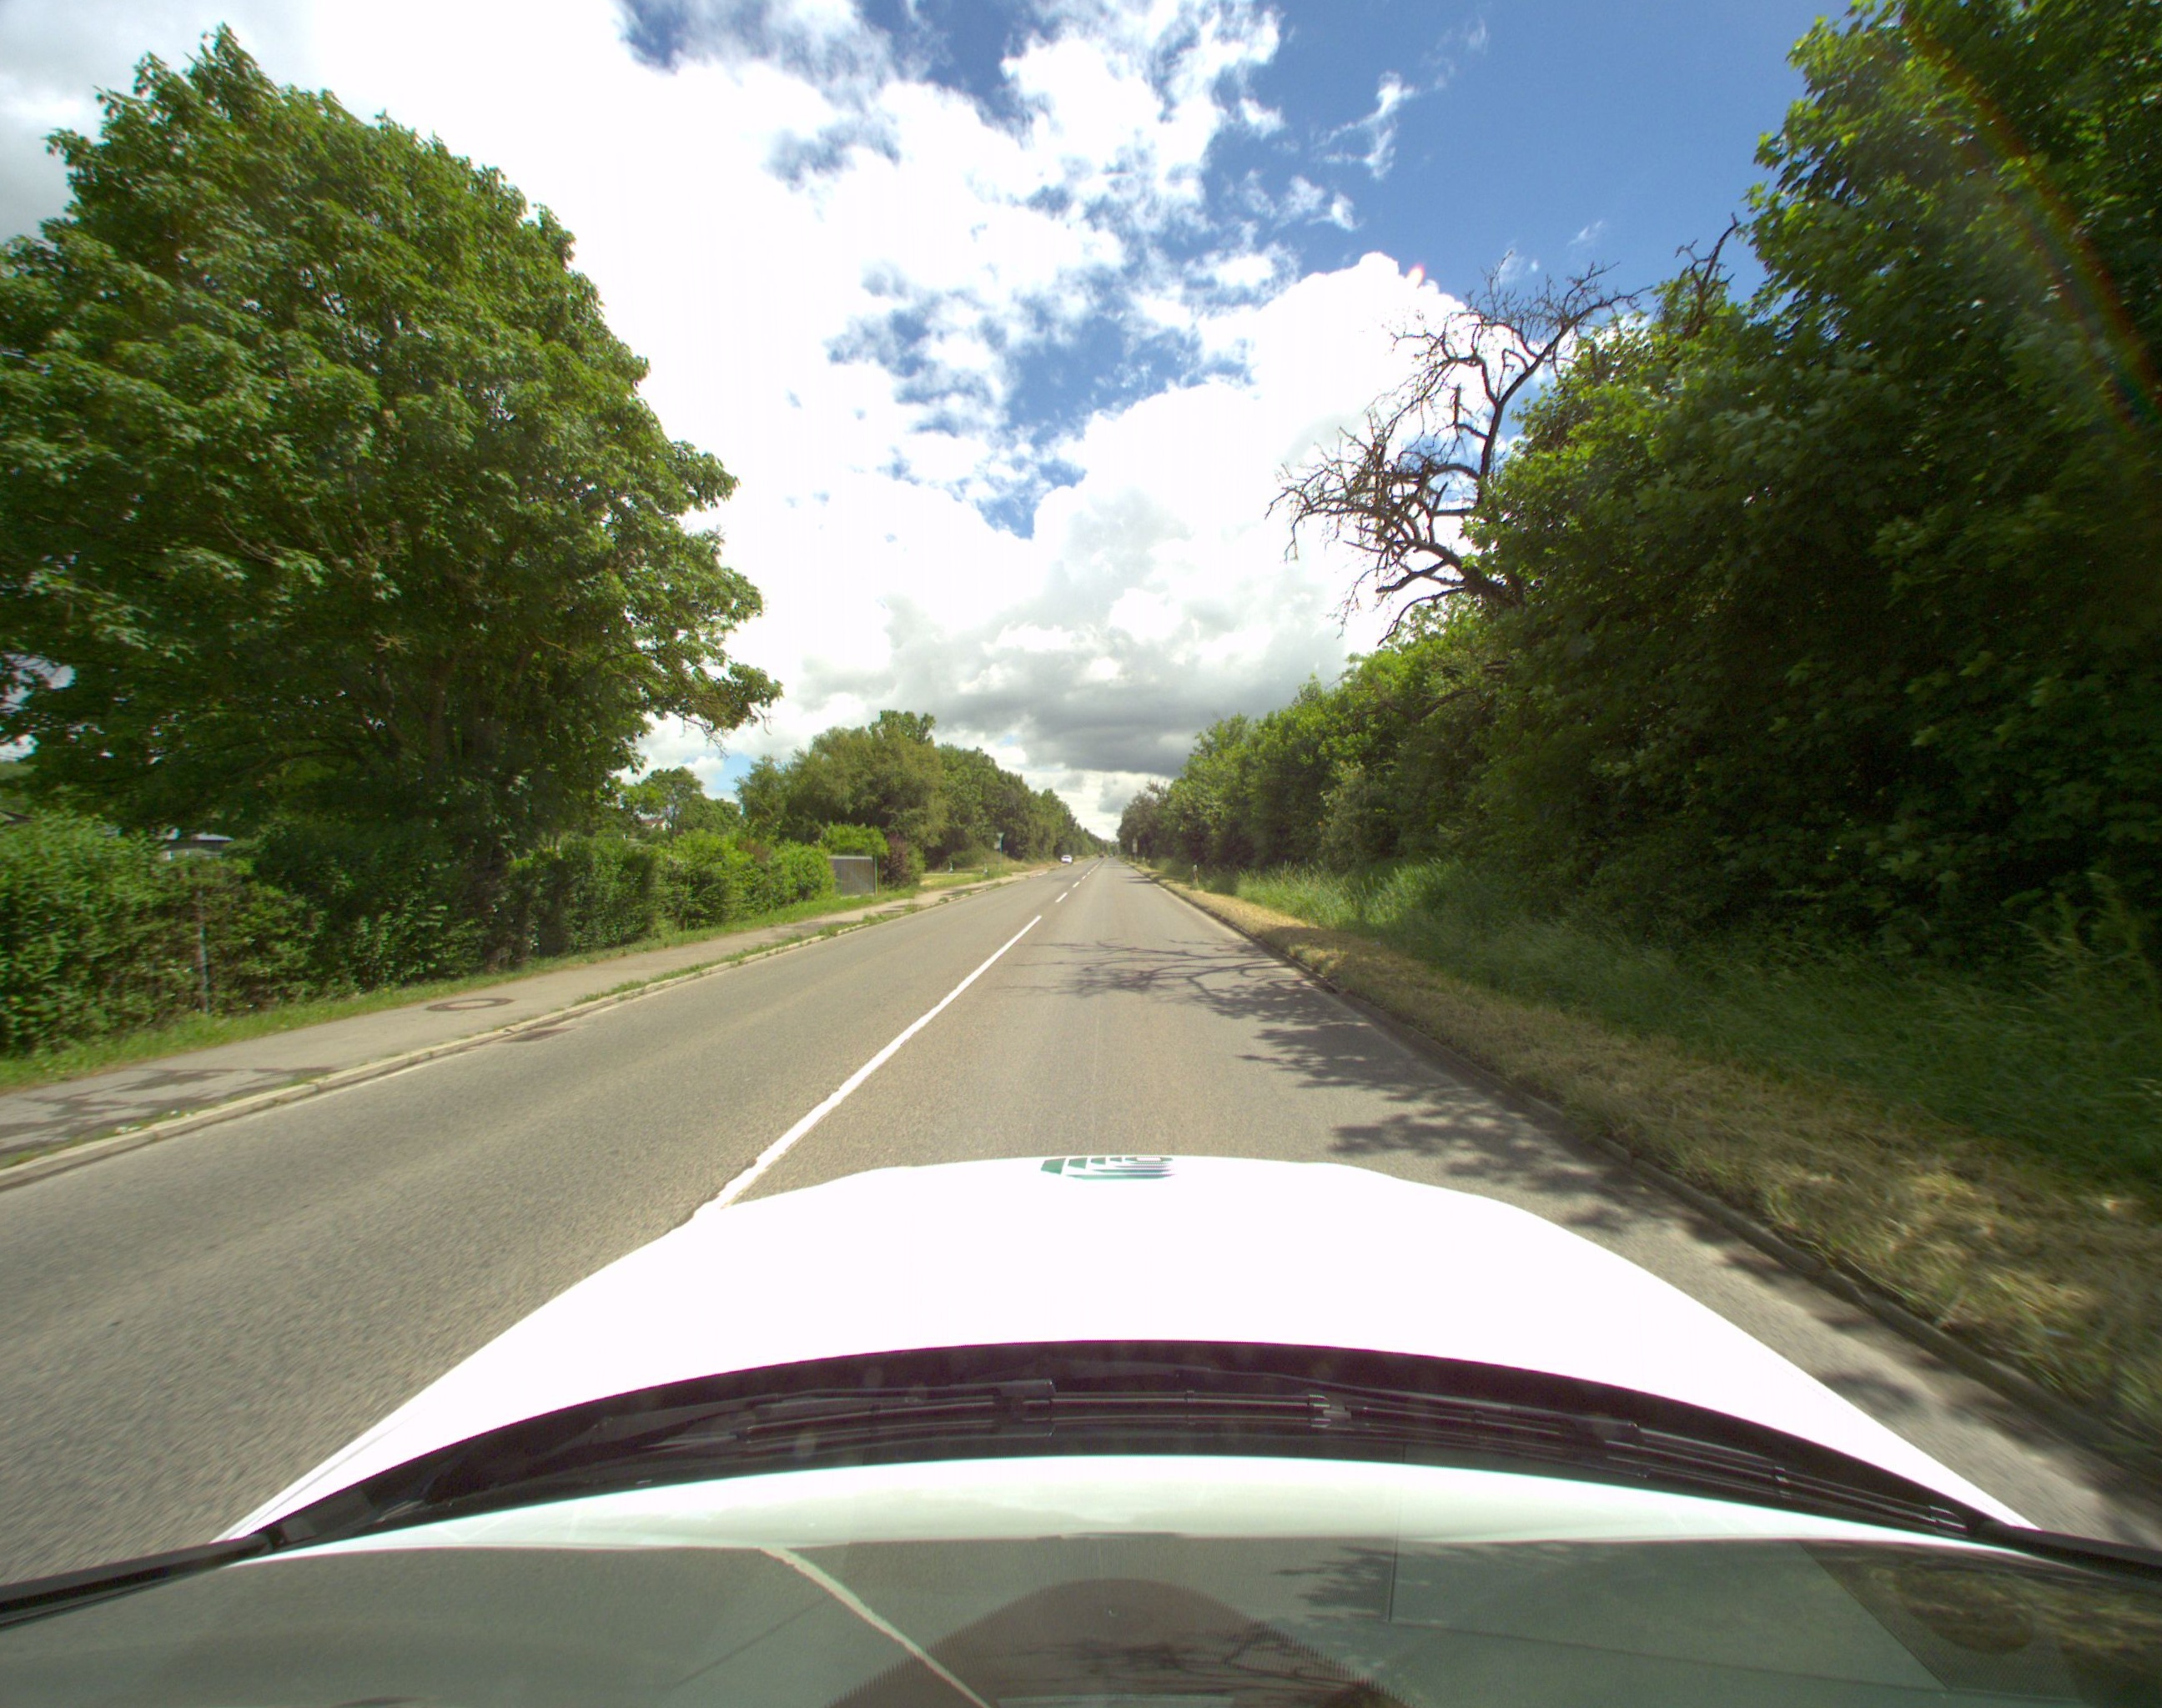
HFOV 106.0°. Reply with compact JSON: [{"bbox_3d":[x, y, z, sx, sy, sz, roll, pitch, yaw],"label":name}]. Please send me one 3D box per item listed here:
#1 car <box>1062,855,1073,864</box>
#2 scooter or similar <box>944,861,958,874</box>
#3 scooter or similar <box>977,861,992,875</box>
[{"bbox_3d":[-2.384,0.943,143.949,1.791,1.543,3.956,-2,-1,2],"label":"car"},{"bbox_3d":[-12.221,1.277,76.507,1.234,1.168,0.408,-1,0,14],"label":"scooter or similar"},{"bbox_3d":[-8.222,1.228,69.335,1.334,1.168,0.409,-1,0,43],"label":"scooter or similar"}]
